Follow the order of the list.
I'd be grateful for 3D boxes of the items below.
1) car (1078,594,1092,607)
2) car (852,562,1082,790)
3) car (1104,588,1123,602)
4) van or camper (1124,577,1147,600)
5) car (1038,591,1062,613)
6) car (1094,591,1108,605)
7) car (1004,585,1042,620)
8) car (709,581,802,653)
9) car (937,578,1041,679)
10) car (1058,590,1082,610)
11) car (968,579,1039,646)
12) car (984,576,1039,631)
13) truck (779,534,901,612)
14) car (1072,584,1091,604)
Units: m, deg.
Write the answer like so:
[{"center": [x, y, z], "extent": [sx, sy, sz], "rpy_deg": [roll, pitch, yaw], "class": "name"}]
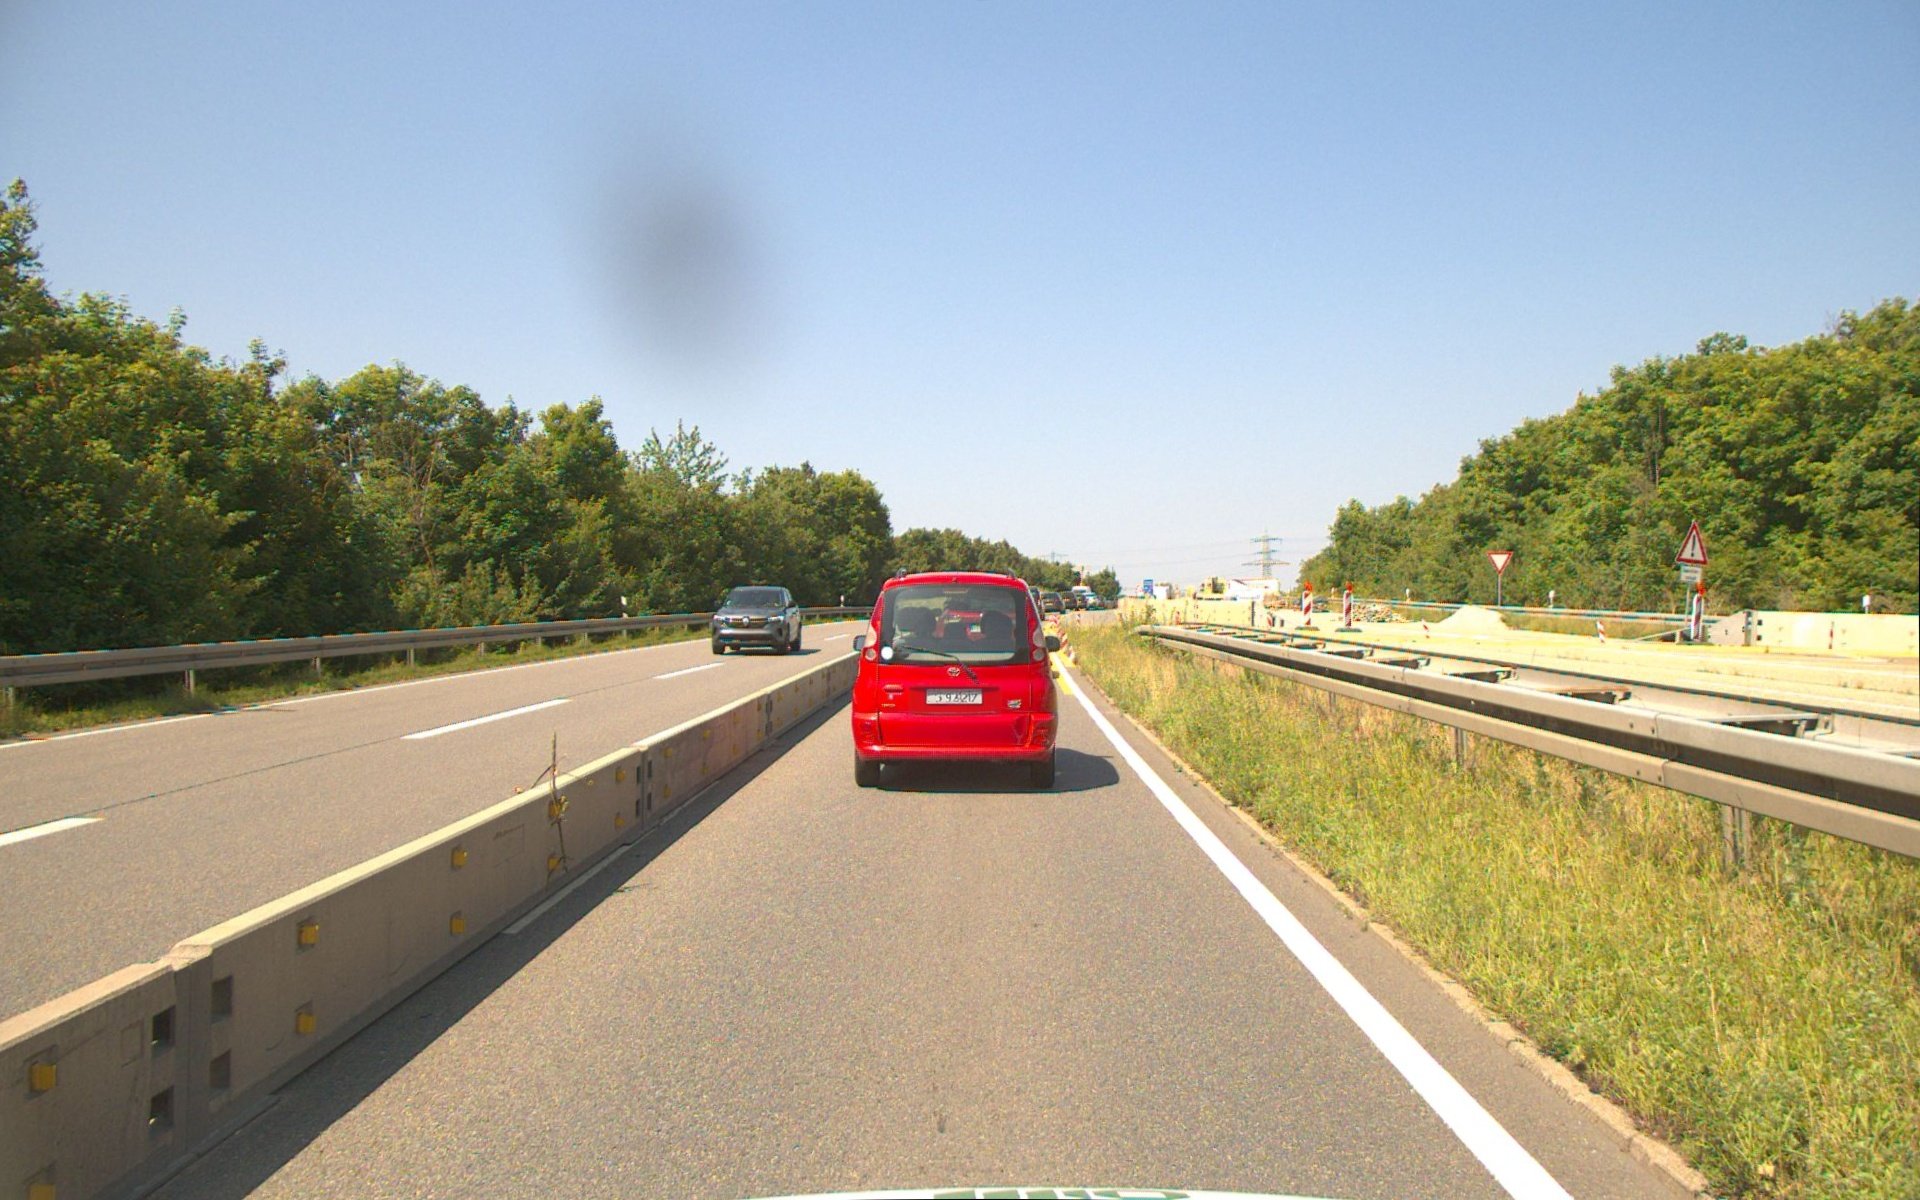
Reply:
[{"center": [12.493, 0.038, 165.802], "extent": [1.391, 1.321, 2.880], "rpy_deg": [0, 0, 3], "class": "car"}, {"center": [0.039, 0.568, 14.377], "extent": [1.716, 1.702, 3.999], "rpy_deg": [0, 0, -1], "class": "car"}, {"center": [18.905, -0.615, 204.128], "extent": [1.952, 1.579, 4.000], "rpy_deg": [-1, 0, 1], "class": "car"}, {"center": [21.312, -1.367, 201.084], "extent": [2.281, 2.754, 4.592], "rpy_deg": [-1, 0, -1], "class": "van or camper"}, {"center": [6.071, 0.134, 112.090], "extent": [1.471, 1.476, 3.325], "rpy_deg": [-1, 0, 1], "class": "car"}, {"center": [15.296, -0.207, 179.909], "extent": [1.470, 1.476, 3.171], "rpy_deg": [0, 0, 3], "class": "car"}, {"center": [3.275, 0.134, 86.383], "extent": [1.952, 1.780, 4.001], "rpy_deg": [0, 0, 2], "class": "car"}, {"center": [-5.018, 0.384, 41.061], "extent": [1.819, 1.667, 4.383], "rpy_deg": [1, 0, -1], "class": "car"}, {"center": [0.547, 0.489, 30.818], "extent": [1.792, 1.752, 4.001], "rpy_deg": [0, 0, 1], "class": "car"}, {"center": [9.099, 0.013, 136.407], "extent": [1.951, 1.612, 4.002], "rpy_deg": [0, 0, 5], "class": "car"}, {"center": [1.250, 0.334, 48.241], "extent": [1.952, 1.870, 4.000], "rpy_deg": [0, 0, 1], "class": "car"}, {"center": [1.965, 0.130, 64.183], "extent": [1.953, 2.039, 3.999], "rpy_deg": [1, 0, -1], "class": "car"}, {"center": [-8.747, -1.956, 120.979], "extent": [8.440, 5.469, 3.390], "rpy_deg": [-1, 0, 2], "class": "truck"}, {"center": [10.962, -0.548, 149.434], "extent": [1.471, 1.767, 3.170], "rpy_deg": [-1, 0, 1], "class": "car"}]
